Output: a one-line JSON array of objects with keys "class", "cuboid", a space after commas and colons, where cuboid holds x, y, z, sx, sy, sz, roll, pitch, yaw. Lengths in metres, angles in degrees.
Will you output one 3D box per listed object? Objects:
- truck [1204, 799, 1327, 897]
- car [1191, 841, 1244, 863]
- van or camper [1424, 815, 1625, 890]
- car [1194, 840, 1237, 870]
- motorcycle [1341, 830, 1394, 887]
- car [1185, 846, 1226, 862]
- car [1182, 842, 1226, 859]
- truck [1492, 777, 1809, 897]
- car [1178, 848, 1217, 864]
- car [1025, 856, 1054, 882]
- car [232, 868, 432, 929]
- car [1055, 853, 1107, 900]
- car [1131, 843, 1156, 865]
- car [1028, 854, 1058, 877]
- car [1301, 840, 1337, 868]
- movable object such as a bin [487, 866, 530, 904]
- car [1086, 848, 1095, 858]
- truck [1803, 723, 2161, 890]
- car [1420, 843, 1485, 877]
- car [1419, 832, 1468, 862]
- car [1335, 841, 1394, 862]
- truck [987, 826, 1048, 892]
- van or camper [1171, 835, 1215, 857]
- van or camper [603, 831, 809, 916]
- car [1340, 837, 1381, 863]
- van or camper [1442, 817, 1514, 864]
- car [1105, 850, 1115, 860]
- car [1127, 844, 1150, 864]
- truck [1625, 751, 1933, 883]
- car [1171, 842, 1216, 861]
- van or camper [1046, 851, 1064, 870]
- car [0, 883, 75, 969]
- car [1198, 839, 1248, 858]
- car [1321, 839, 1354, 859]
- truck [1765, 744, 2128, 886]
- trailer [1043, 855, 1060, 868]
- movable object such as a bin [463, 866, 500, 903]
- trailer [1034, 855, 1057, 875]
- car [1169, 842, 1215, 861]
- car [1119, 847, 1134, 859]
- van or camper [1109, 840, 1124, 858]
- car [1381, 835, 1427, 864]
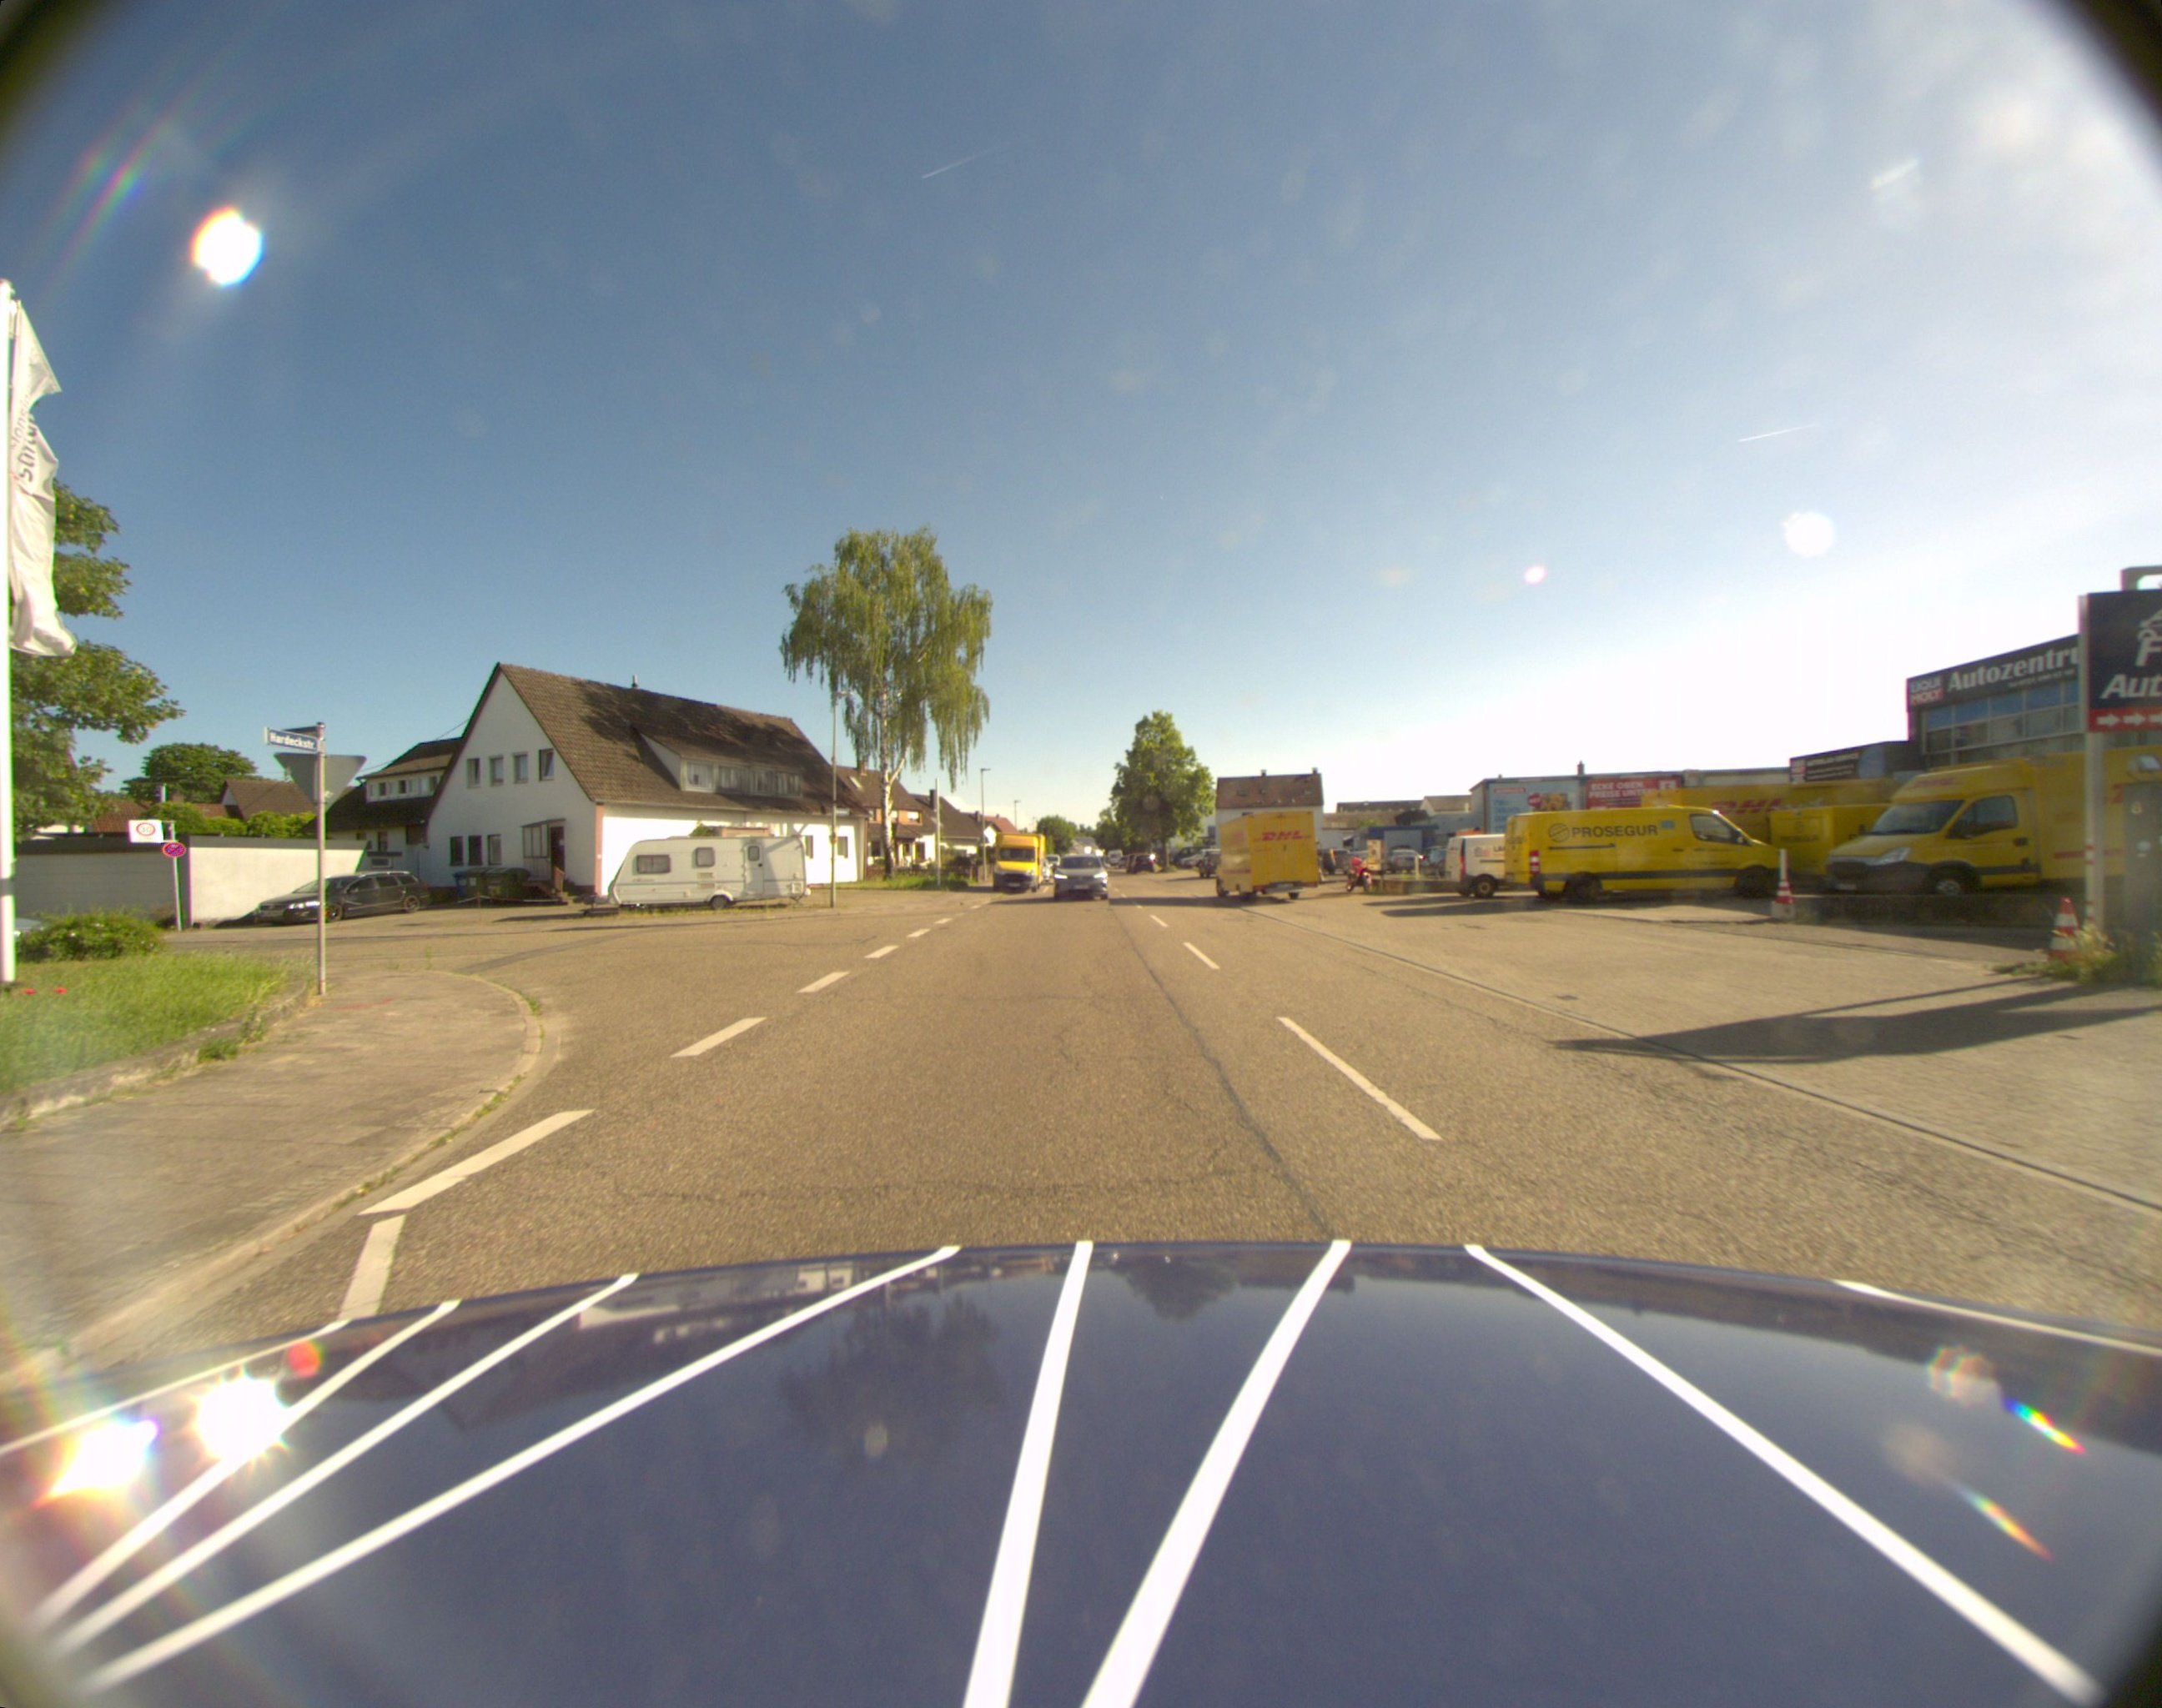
[{"class": "truck", "cuboid": [6.352, -0.220, 27.368, 2.409, 2.966, 7.243, -3, 1, -1]}, {"class": "car", "cuboid": [11.794, -0.179, 65.754, 4.259, 1.719, 1.766, -1, 1, 2]}, {"class": "van or camper", "cuboid": [12.772, -0.038, 22.199, 4.552, 2.002, 2.252, -1, 1, 6]}, {"class": "car", "cuboid": [8.658, 0.053, 49.231, 1.866, 1.704, 4.275, -4, 1, -1]}, {"class": "motorcycle", "cuboid": [10.216, 0.147, 27.259, 0.783, 1.862, 3.041, -4, 0, 4]}, {"class": "car", "cuboid": [13.401, -0.020, 81.974, 4.258, 1.533, 1.766, -2, 1, 6]}, {"class": "car", "cuboid": [12.747, -0.338, 78.870, 4.260, 1.576, 1.765, -2, 0, -1]}, {"class": "truck", "cuboid": [13.940, -0.367, 19.064, 5.931, 2.553, 2.225, -3, 1, 11]}, {"class": "car", "cuboid": [12.199, 0.188, 79.719, 3.815, 1.533, 1.548, -2, 1, 0]}, {"class": "car", "cuboid": [-2.751, 0.926, 49.779, 1.789, 1.533, 4.535, -2, 0, -4]}, {"class": "car", "cuboid": [-23.895, 1.334, 24.550, 1.719, 1.430, 4.629, -1, 3, 1]}, {"class": "car", "cuboid": [-0.029, 0.785, 28.263, 1.777, 1.624, 3.703, -1, 0, -1]}, {"class": "car", "cuboid": [5.430, 0.018, 66.494, 1.678, 1.761, 4.554, -4, 0, -1]}, {"class": "car", "cuboid": [-2.728, 0.787, 54.873, 1.678, 1.533, 4.043, -2, 0, 3]}, {"class": "car", "cuboid": [15.639, 0.032, 50.034, 1.779, 1.738, 4.168, -1, -1, 11]}, {"class": "movable object such as a bin", "cuboid": [-22.007, 1.177, 29.196, 0.834, 1.428, 0.993, -1, 1, 23]}, {"class": "car", "cuboid": [1.929, -0.164, 154.489, 1.899, 2.020, 4.817, 0, 1, 0]}, {"class": "truck", "cuboid": [18.584, -0.868, 14.951, 6.101, 2.955, 2.175, -1, 1, 13]}, {"class": "car", "cuboid": [17.795, 0.305, 36.578, 1.779, 1.536, 4.301, -1, -1, 12]}, {"class": "car", "cuboid": [22.620, -0.386, 47.557, 1.779, 1.738, 4.168, -1, -1, 11]}, {"class": "car", "cuboid": [21.242, -0.170, 57.038, 3.993, 1.442, 1.670, -1, 2, 13]}, {"class": "truck", "cuboid": [-2.994, 0.196, 37.381, 2.409, 2.920, 7.015, 1, 1, 0]}, {"class": "van or camper", "cuboid": [13.013, -0.964, 88.266, 4.900, 2.307, 2.245, -2, 1, 11]}, {"class": "van or camper", "cuboid": [-12.297, 0.566, 25.310, 5.840, 2.527, 2.285, -2, 1, -25]}, {"class": "car", "cuboid": [17.656, -0.205, 48.194, 1.779, 1.536, 4.168, -1, -1, 11]}, {"class": "van or camper", "cuboid": [24.717, -0.834, 47.594, 2.168, 2.699, 6.274, -1, 1, 10]}, {"class": "car", "cuboid": [5.343, 0.162, 141.352, 1.697, 1.557, 3.907, -4, 0, 2]}, {"class": "car", "cuboid": [5.503, -0.024, 72.730, 1.808, 1.742, 4.341, -3, 1, 0]}, {"class": "truck", "cuboid": [18.825, -0.925, 20.886, 5.678, 3.101, 2.525, -3, 1, 11]}, {"class": "car", "cuboid": [11.128, -0.261, 75.534, 4.258, 1.742, 1.766, -1, 1, 3]}, {"class": "van or camper", "cuboid": [-2.790, 0.694, 82.826, 1.723, 1.880, 4.179, -2, 1, 1]}, {"class": "car", "cuboid": [-23.079, 1.457, 14.872, 4.520, 1.608, 1.800, -1, 1, 3]}, {"class": "car", "cuboid": [13.213, -0.517, 70.797, 4.259, 1.719, 1.765, -1, 1, 0]}, {"class": "car", "cuboid": [20.525, -0.395, 60.828, 1.667, 1.555, 3.850, -1, 1, 6]}, {"class": "truck", "cuboid": [19.877, -0.820, 17.789, 5.343, 2.955, 2.175, -1, 1, 13]}, {"class": "trailer", "cuboid": [-3.054, 0.780, 78.122, 1.632, 1.210, 3.143, -1, 0, -3]}, {"class": "movable object such as a bin", "cuboid": [-23.366, 1.181, 29.620, 1.191, 1.428, 0.601, -1, 1, 23]}, {"class": "trailer", "cuboid": [-2.822, 0.878, 61.390, 1.631, 1.529, 3.198, -1, 0, 1]}, {"class": "car", "cuboid": [10.642, -0.217, 73.189, 4.257, 1.719, 1.766, -1, 1, 6]}, {"class": "car", "cuboid": [5.974, -0.116, 99.663, 1.691, 1.427, 4.209, -4, 0, 2]}, {"class": "van or camper", "cuboid": [5.602, -0.774, 121.791, 2.128, 2.475, 5.557, -4, -1, 1]}, {"class": "car", "cuboid": [20.336, -0.253, 48.005, 1.779, 1.738, 4.168, -1, -1, 11]}]
